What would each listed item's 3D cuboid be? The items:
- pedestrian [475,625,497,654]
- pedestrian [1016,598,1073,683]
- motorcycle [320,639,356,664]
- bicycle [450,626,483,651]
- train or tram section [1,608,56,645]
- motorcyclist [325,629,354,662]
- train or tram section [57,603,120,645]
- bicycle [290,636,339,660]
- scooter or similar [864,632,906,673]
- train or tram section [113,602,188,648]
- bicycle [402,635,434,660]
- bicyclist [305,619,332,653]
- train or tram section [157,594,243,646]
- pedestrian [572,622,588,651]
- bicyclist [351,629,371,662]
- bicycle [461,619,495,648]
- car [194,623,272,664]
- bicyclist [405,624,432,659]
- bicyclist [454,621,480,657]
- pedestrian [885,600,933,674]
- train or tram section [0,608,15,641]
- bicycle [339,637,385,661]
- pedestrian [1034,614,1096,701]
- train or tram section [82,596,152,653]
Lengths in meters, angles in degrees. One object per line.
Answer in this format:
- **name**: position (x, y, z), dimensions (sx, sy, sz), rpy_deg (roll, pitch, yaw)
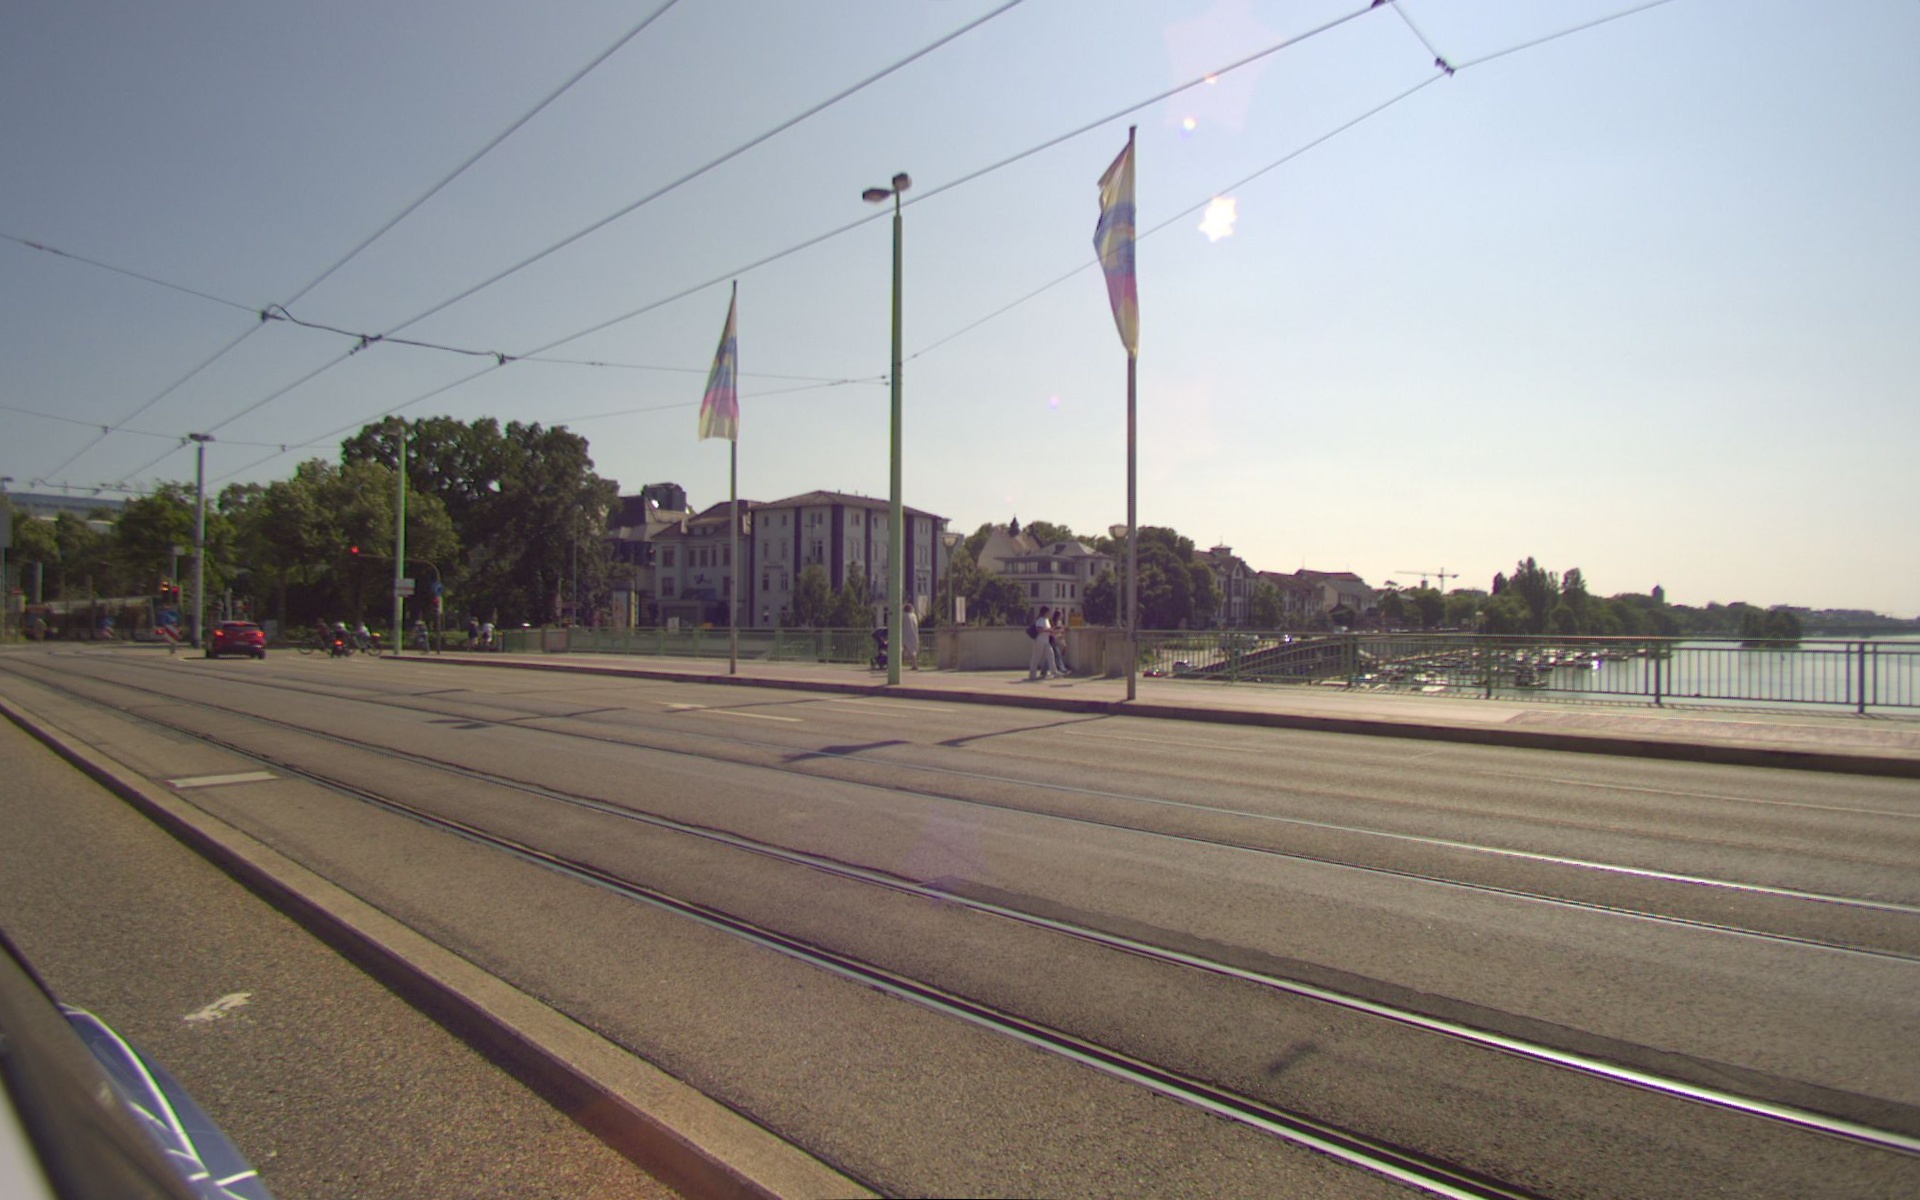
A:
- **pedestrian**: position (-24.476, 2.009, 52.287), dimensions (0.899, 1.466, 0.735), rpy_deg (-1, -1, 42)
- **pedestrian**: position (1.863, 0.888, 22.361), dimensions (0.956, 1.798, 0.731), rpy_deg (-2, 1, 40)
- **motorcycle**: position (-27.491, 2.278, 44.728), dimensions (1.951, 1.032, 0.836), rpy_deg (-1, -1, 41)
- **bicycle**: position (-23.190, 1.809, 47.566), dimensions (1.920, 1.122, 0.750), rpy_deg (-1, -1, 42)
- **train or tram section**: position (-87.740, 2.516, 95.324), dimensions (5.876, 3.429, 2.734), rpy_deg (-1, -3, 37)
- **motorcyclist**: position (-27.402, 1.979, 44.686), dimensions (0.897, 1.412, 0.836), rpy_deg (-1, -1, 40)
- **train or tram section**: position (-81.892, 2.234, 95.054), dimensions (9.152, 3.806, 2.514), rpy_deg (-1, -2, 37)
- **bicycle**: position (-31.571, 2.325, 49.521), dimensions (0.759, 1.122, 1.898), rpy_deg (0, -1, 33)
- **scooter or similar**: position (-2.011, 1.386, 27.110), dimensions (0.832, 1.037, 0.731), rpy_deg (-1, 1, 40)
- **train or tram section**: position (-67.765, 2.126, 84.634), dimensions (9.598, 3.709, 2.383), rpy_deg (-2, -3, 36)
- **bicycle**: position (-25.604, 2.244, 47.809), dimensions (1.920, 1.122, 0.750), rpy_deg (-4, -1, 44)
- **bicyclist**: position (-31.457, 1.765, 49.635), dimensions (0.769, 1.621, 0.870), rpy_deg (0, -1, 33)
- **train or tram section**: position (-58.750, 1.570, 78.070), dimensions (11.837, 3.806, 2.445), rpy_deg (-1, -2, 39)
- **pedestrian**: position (-23.618, 2.286, 62.947), dimensions (0.686, 1.806, 0.701), rpy_deg (0, -2, -1)
- **bicyclist**: position (-29.575, 2.231, 49.982), dimensions (0.758, 1.621, 0.883), rpy_deg (1, -2, -27)
- **bicycle**: position (-24.999, 1.723, 52.424), dimensions (2.161, 1.410, 0.698), rpy_deg (-1, 2, 40)
- **car**: position (-29.569, 1.723, 41.120), dimensions (1.970, 1.526, 4.193), rpy_deg (1, -1, -44)
- **bicyclist**: position (-25.610, 1.984, 47.861), dimensions (0.772, 1.621, 0.867), rpy_deg (-3, -5, 44)
- **bicyclist**: position (-23.170, 1.822, 47.563), dimensions (0.772, 1.621, 0.867), rpy_deg (-1, -1, 42)
- **pedestrian**: position (-1.335, 0.949, 26.509), dimensions (0.974, 1.867, 0.731), rpy_deg (-2, 1, 40)
- **train or tram section**: position (-104.549, 2.661, 108.481), dimensions (12.393, 3.429, 2.733), rpy_deg (-1, -3, 38)
- **bicycle**: position (-29.542, 2.404, 50.016), dimensions (1.887, 1.122, 0.763), rpy_deg (1, -1, -27)
- **pedestrian**: position (2.375, 1.281, 22.880), dimensions (1.120, 1.862, 0.731), rpy_deg (-1, 1, 40)
- **train or tram section**: position (-75.069, 2.114, 90.070), dimensions (9.156, 3.804, 2.515), rpy_deg (9, 4, 36)
